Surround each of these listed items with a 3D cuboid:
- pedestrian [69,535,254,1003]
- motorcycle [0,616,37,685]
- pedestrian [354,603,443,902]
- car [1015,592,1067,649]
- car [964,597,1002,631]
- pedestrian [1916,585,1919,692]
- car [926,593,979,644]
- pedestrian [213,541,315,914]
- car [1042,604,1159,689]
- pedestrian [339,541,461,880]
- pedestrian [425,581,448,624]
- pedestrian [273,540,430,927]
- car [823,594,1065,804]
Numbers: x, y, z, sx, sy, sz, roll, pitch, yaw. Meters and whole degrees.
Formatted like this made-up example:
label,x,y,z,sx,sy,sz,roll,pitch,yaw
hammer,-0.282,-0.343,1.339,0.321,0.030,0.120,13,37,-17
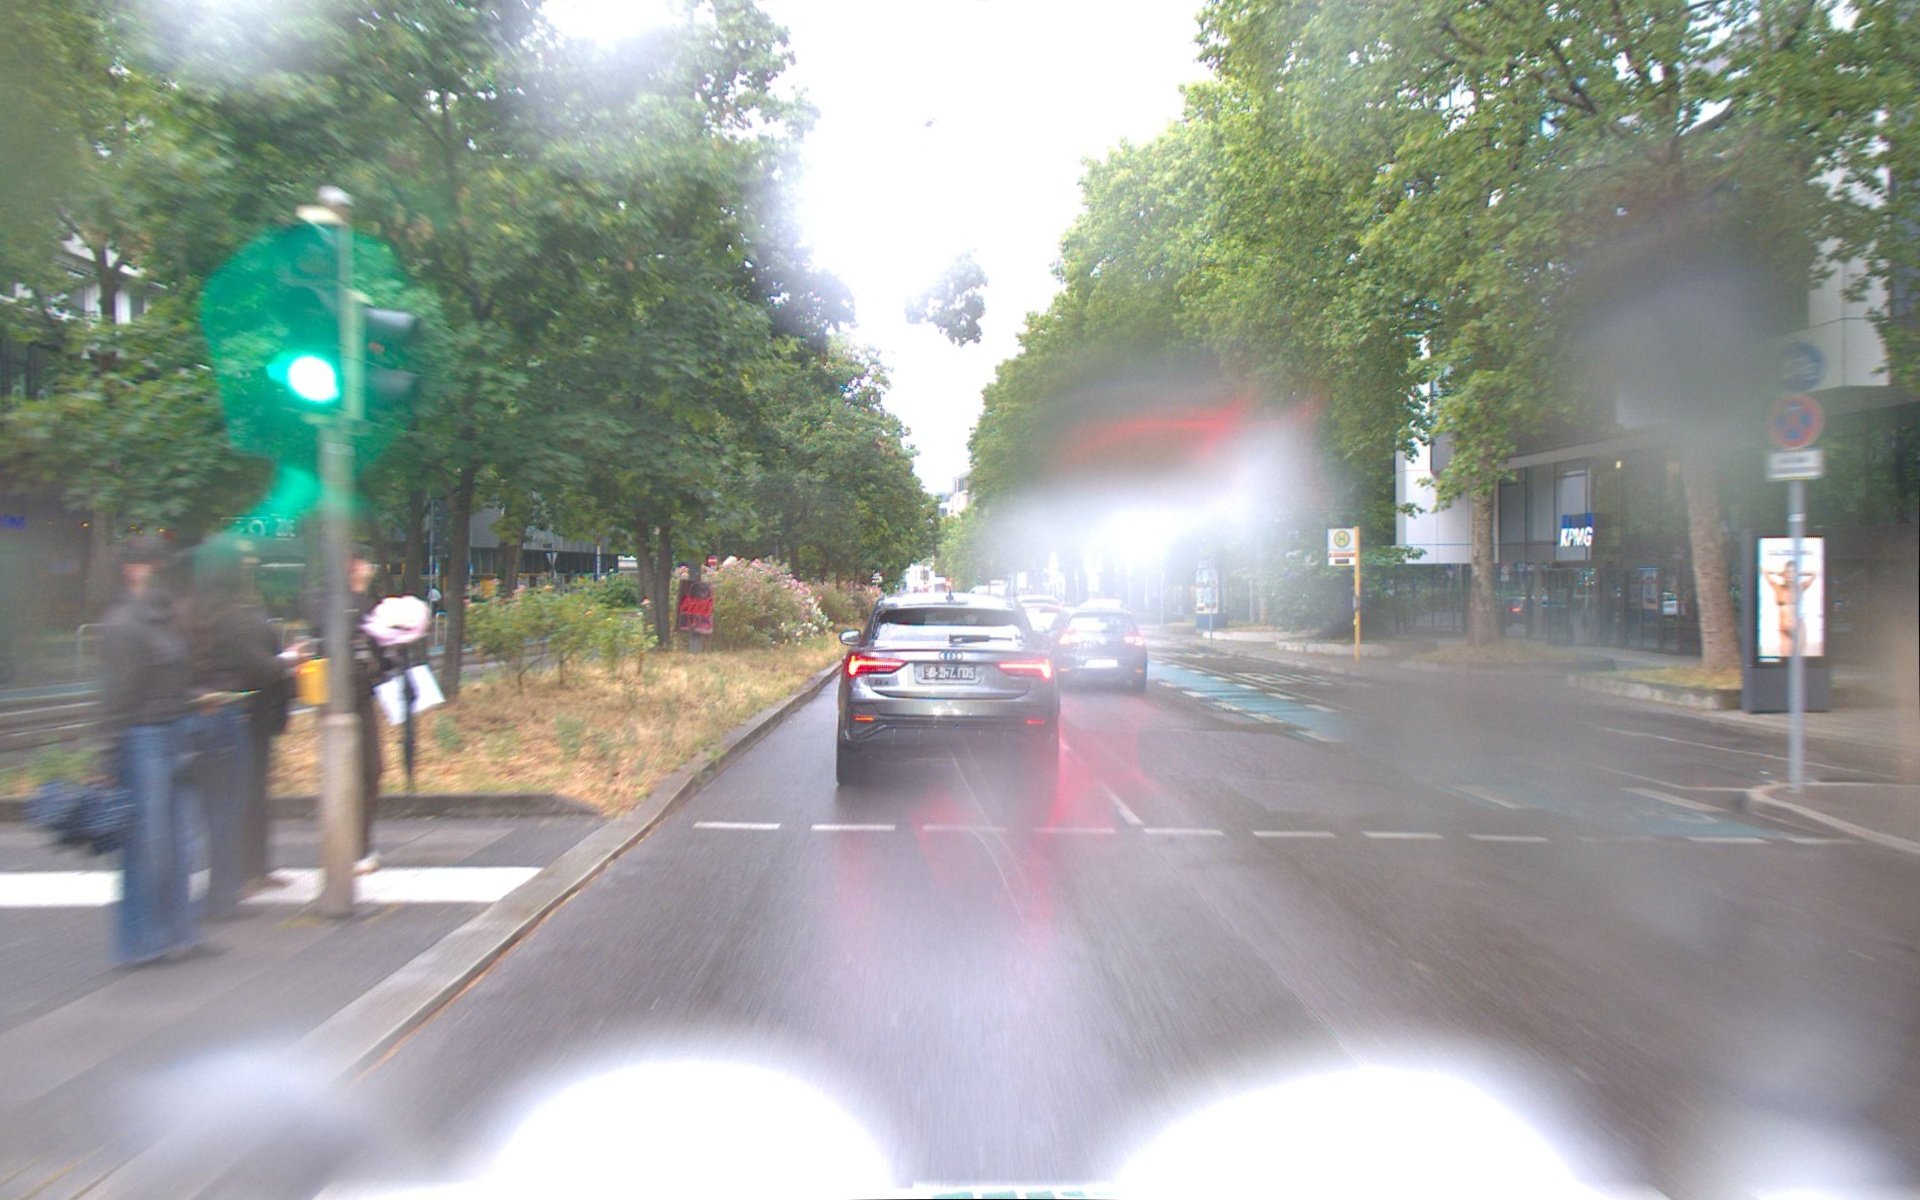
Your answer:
label,x,y,z,sx,sy,sz,roll,pitch,yaw
pedestrian,-3.029,0.604,6.317,0.603,1.671,0.601,0,0,-24
motorcycle,-15.790,0.809,26.478,1.756,1.103,0.491,1,0,-32
pedestrian,-2.853,0.752,8.411,0.416,1.476,0.383,0,0,-20
car,2.501,0.602,51.436,1.404,1.714,2.978,0,0,-1
car,1.235,0.761,90.342,1.953,1.780,3.999,0,0,-1
pedestrian,16.667,0.652,28.053,0.551,1.825,0.607,0,0,-4
car,-0.270,0.577,54.650,1.687,1.605,3.960,0,0,-1
pedestrian,-3.342,0.596,7.956,0.391,1.750,0.324,0,0,-11
car,2.561,0.825,30.978,1.729,1.437,3.999,0,0,-2
pedestrian,-2.935,0.562,8.702,0.563,1.728,0.403,0,0,-13
pedestrian,-24.689,0.120,78.062,0.862,2.049,0.635,0,0,-2
pedestrian,-2.729,0.577,7.455,0.618,1.671,0.443,0,0,-15
car,-0.116,0.741,14.753,1.825,1.559,4.526,0,0,0
